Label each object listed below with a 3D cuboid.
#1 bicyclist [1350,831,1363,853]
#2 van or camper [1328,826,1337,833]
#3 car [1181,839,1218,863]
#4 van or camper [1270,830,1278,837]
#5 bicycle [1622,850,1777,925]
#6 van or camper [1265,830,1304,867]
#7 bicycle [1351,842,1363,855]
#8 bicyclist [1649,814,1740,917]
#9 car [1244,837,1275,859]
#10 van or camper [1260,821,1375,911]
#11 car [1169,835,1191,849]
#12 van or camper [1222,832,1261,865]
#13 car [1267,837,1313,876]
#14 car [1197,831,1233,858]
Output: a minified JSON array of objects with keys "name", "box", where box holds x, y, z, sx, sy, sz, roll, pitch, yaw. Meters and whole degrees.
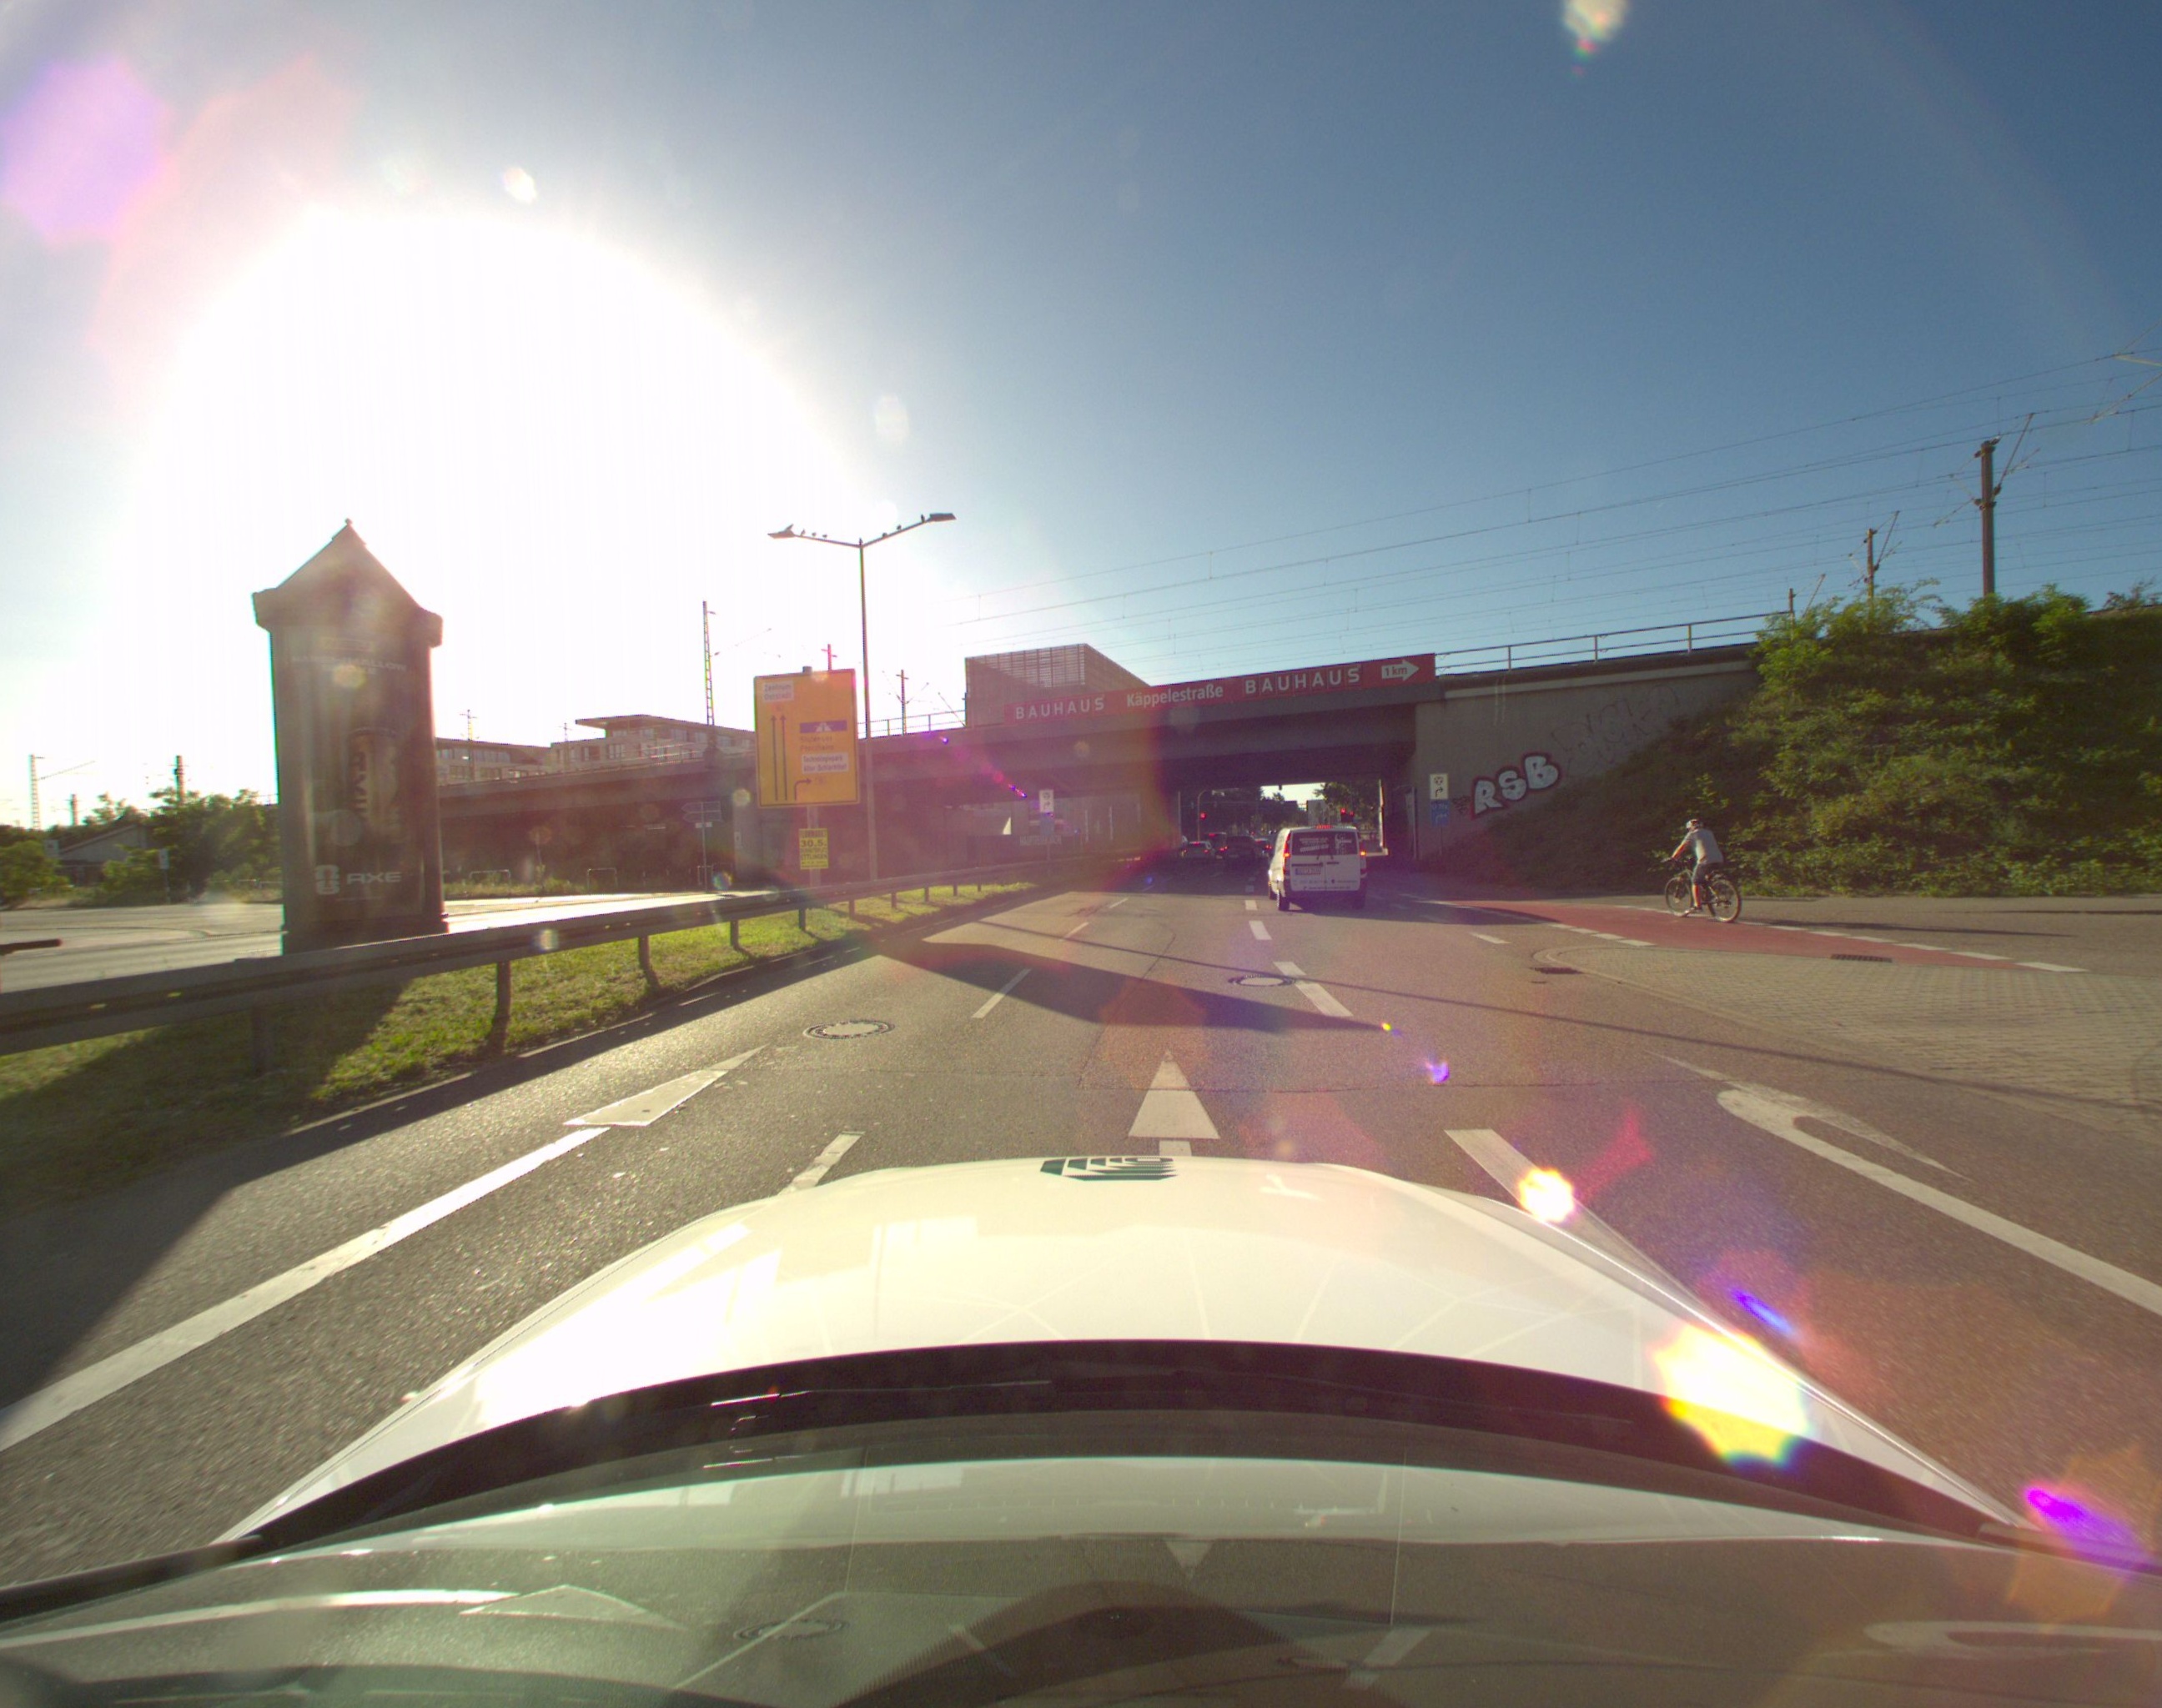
[{"name":"bicyclist","box":[20.441,-0.867,60.433,0.745,1.584,0.929,-4,0,17]},{"name":"van or camper","box":[70.300,-6.839,227.455,1.769,1.863,3.931,-4,0,24]},{"name":"car","box":[7.848,-0.224,53.561,1.694,1.452,3.761,-1,1,19]},{"name":"van or camper","box":[53.360,-5.609,225.489,1.772,1.863,3.925,-4,0,16]},{"name":"bicycle","box":[10.294,0.511,13.718,0.740,1.112,2.452,-4,0,2]},{"name":"van or camper","box":[10.458,-0.289,41.850,1.812,1.791,4.563,-1,1,15]},{"name":"bicycle","box":[20.478,-0.399,60.438,0.766,0.893,2.005,-4,0,16]},{"name":"bicyclist","box":[10.277,0.186,13.674,0.743,1.619,0.913,-4,0,2]},{"name":"car","box":[13.257,-0.469,60.207,1.749,1.475,4.309,-2,0,18]},{"name":"van or camper","box":[5.593,0.230,19.861,1.947,1.883,4.891,-2,1,8]},{"name":"car","box":[12.104,-1.417,99.654,1.768,1.645,4.222,-1,1,19]},{"name":"van or camper","box":[9.550,-0.354,48.198,1.740,1.813,3.978,-1,1,19]},{"name":"car","box":[8.801,0.083,34.532,1.751,1.475,4.304,-2,0,13]},{"name":"car","box":[10.045,-0.732,60.811,1.851,1.946,4.619,-1,1,19]}]
